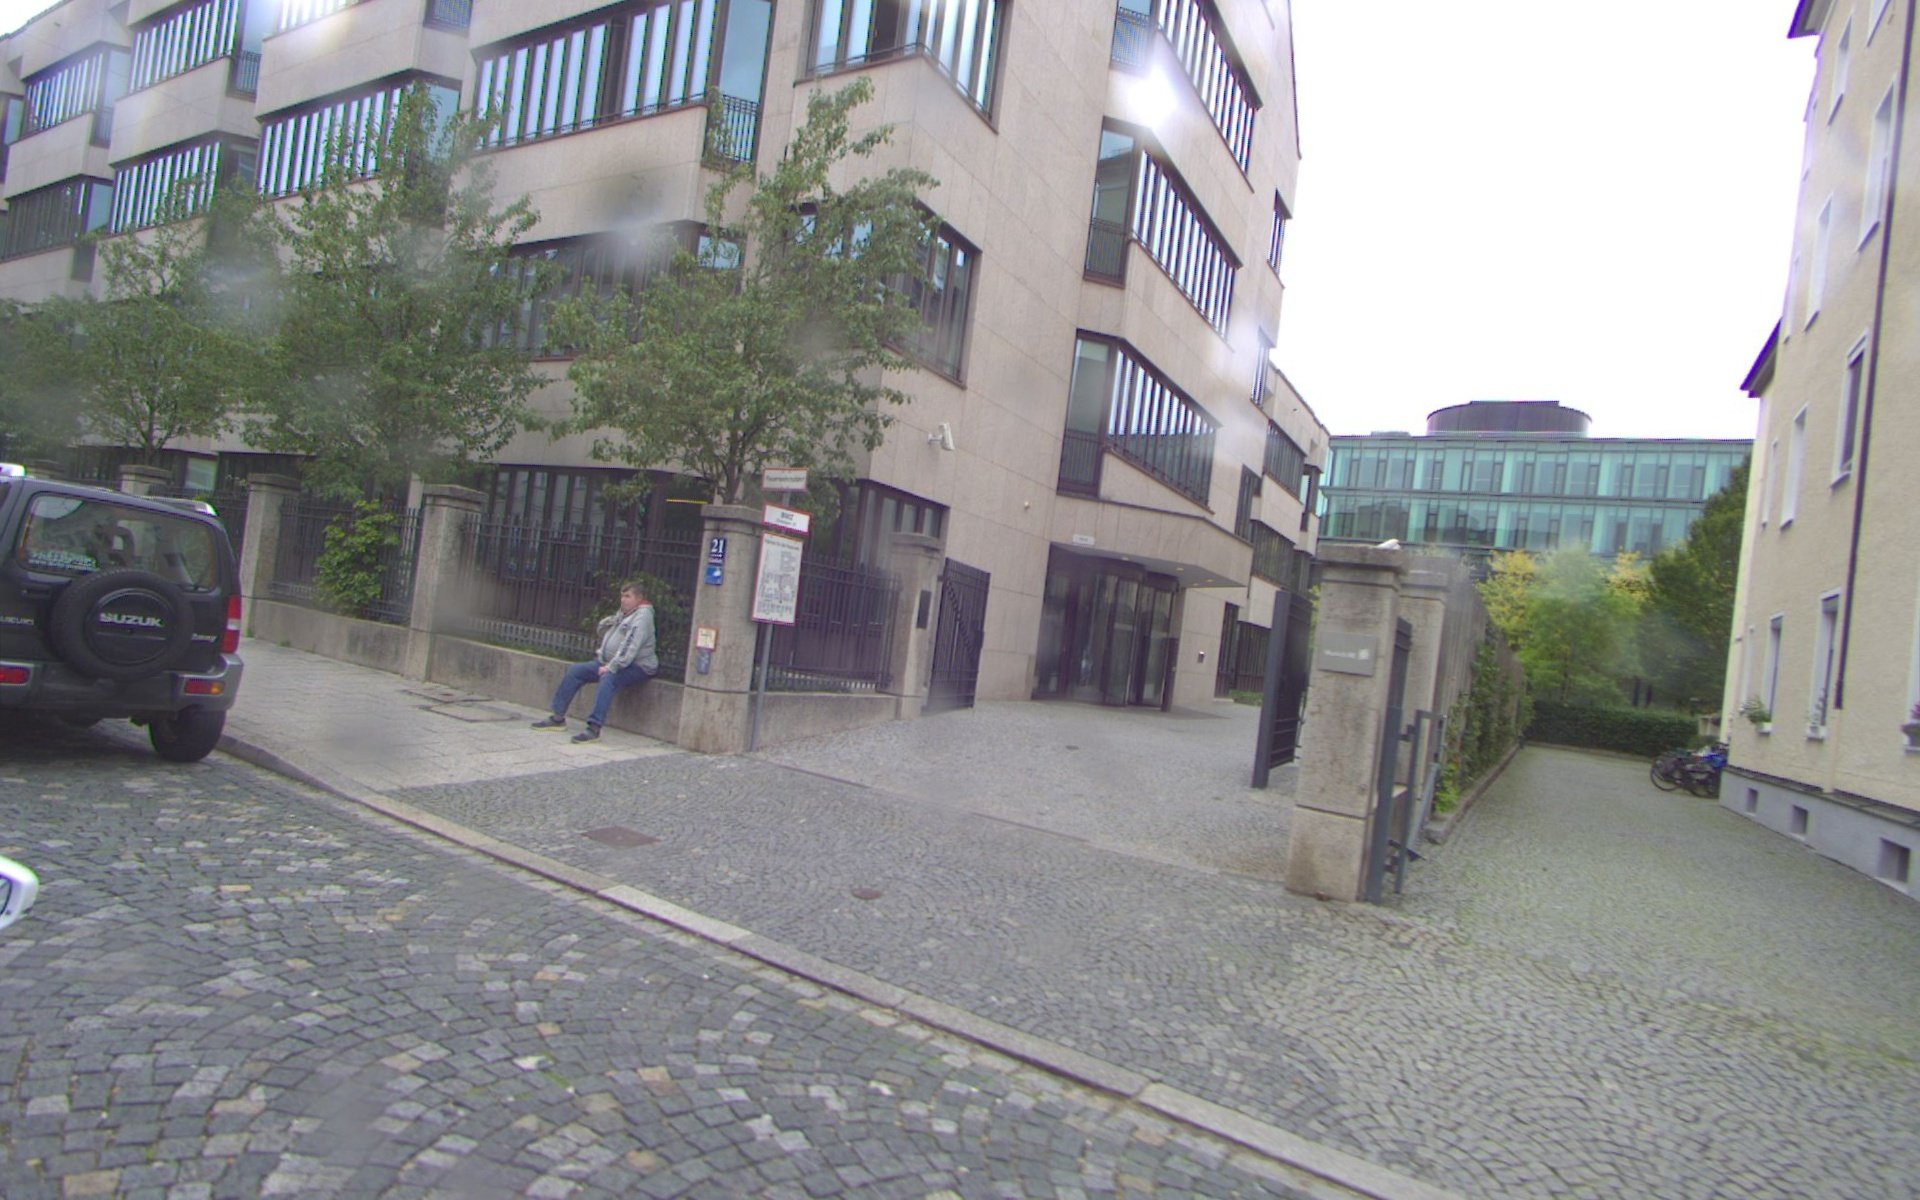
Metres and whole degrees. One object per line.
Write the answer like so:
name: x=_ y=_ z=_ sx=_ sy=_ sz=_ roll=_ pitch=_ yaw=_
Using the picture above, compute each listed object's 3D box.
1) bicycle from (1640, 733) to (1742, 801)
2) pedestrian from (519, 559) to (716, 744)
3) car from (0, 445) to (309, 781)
bicycle: x=17.355 y=3.944 z=23.923 sx=1.821 sy=1.243 sz=0.792 roll=7 pitch=-1 yaw=36
pedestrian: x=-3.204 y=0.467 z=9.472 sx=1.111 sy=1.512 sz=1.217 roll=7 pitch=2 yaw=33
car: x=-6.434 y=-0.033 z=6.817 sx=3.821 sy=1.769 sz=1.624 roll=7 pitch=-4 yaw=30
